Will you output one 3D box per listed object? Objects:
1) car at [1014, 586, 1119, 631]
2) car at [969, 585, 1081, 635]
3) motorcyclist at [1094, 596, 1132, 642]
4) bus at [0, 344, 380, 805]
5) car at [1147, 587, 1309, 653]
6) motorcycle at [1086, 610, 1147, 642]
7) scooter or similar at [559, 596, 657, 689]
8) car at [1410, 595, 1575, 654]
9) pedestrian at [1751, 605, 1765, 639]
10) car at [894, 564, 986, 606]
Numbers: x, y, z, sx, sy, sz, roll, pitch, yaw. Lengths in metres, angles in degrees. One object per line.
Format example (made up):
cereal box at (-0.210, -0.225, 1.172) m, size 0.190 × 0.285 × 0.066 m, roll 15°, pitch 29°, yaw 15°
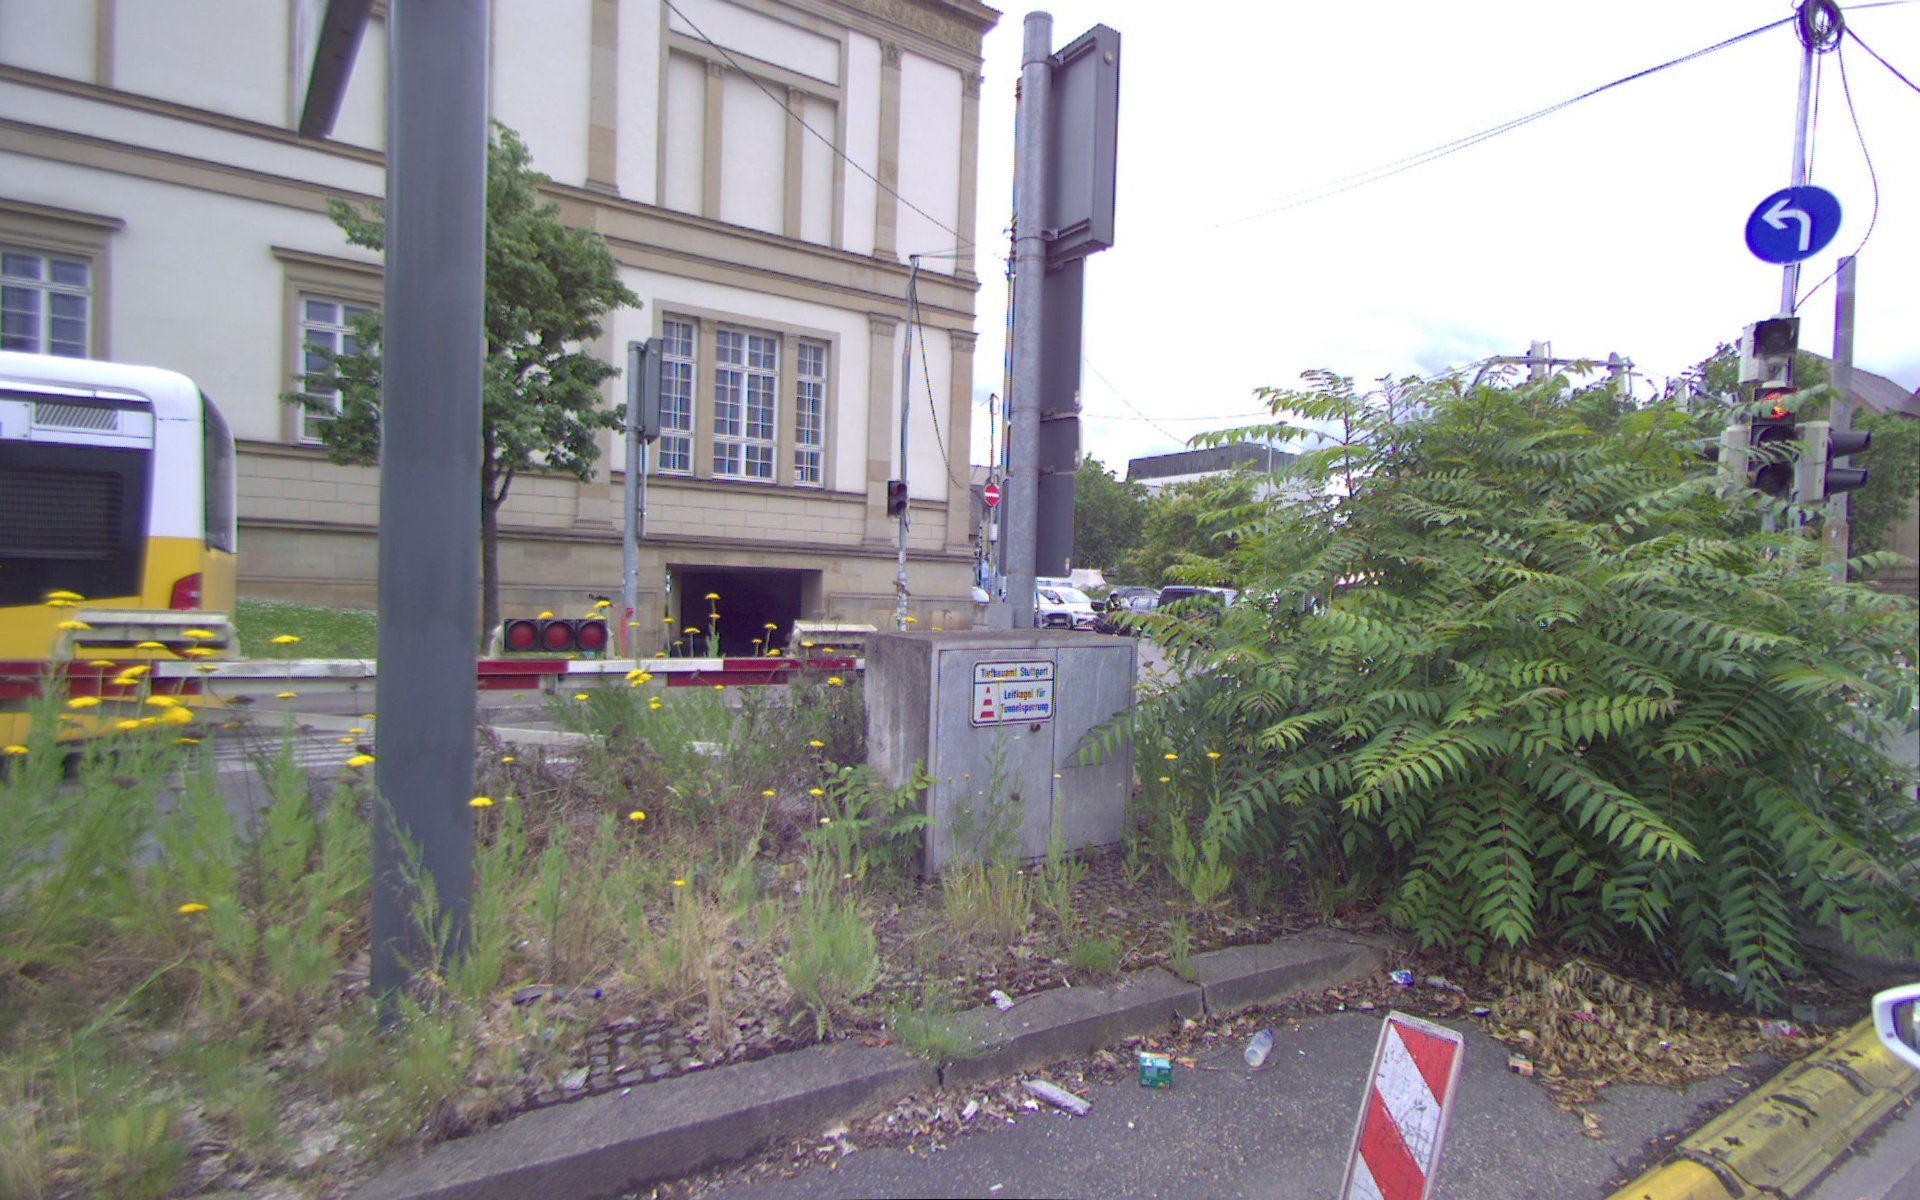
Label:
car at (4.267, 0.319, 40.908) m, size 1.979 × 1.698 × 4.285 m, roll 1°, pitch 1°, yaw -34°
car at (2.369, 0.342, 37.536) m, size 1.979 × 1.698 × 4.285 m, roll 1°, pitch 1°, yaw -34°
motorcyclist at (4.997, 0.622, 32.778) m, size 0.738 × 1.442 × 0.959 m, roll 1°, pitch 1°, yaw -35°
bus at (-9.217, -0.239, 6.896) m, size 9.018 × 3.156 × 2.831 m, roll 1°, pitch 1°, yaw -31°
car at (7.668, 0.527, 29.116) m, size 1.979 × 1.698 × 4.285 m, roll 1°, pitch 1°, yaw -34°
motorcycle at (5.078, 0.846, 32.664) m, size 0.749 × 0.937 × 2.042 m, roll 1°, pitch 1°, yaw -35°
scooter or similar at (-4.937, 0.590, 14.146) m, size 1.132 × 1.190 × 0.540 m, roll 6°, pitch 0°, yaw -10°
car at (17.136, 0.737, 32.460) m, size 1.986 × 1.698 × 4.271 m, roll 1°, pitch 1°, yaw -43°
pedestrian at (49.819, 1.369, 62.730) m, size 0.516 × 2.040 × 0.428 m, roll 2°, pitch 1°, yaw 17°
car at (-0.933, -0.670, 43.697) m, size 1.979 × 1.698 × 4.285 m, roll 1°, pitch 1°, yaw -34°
